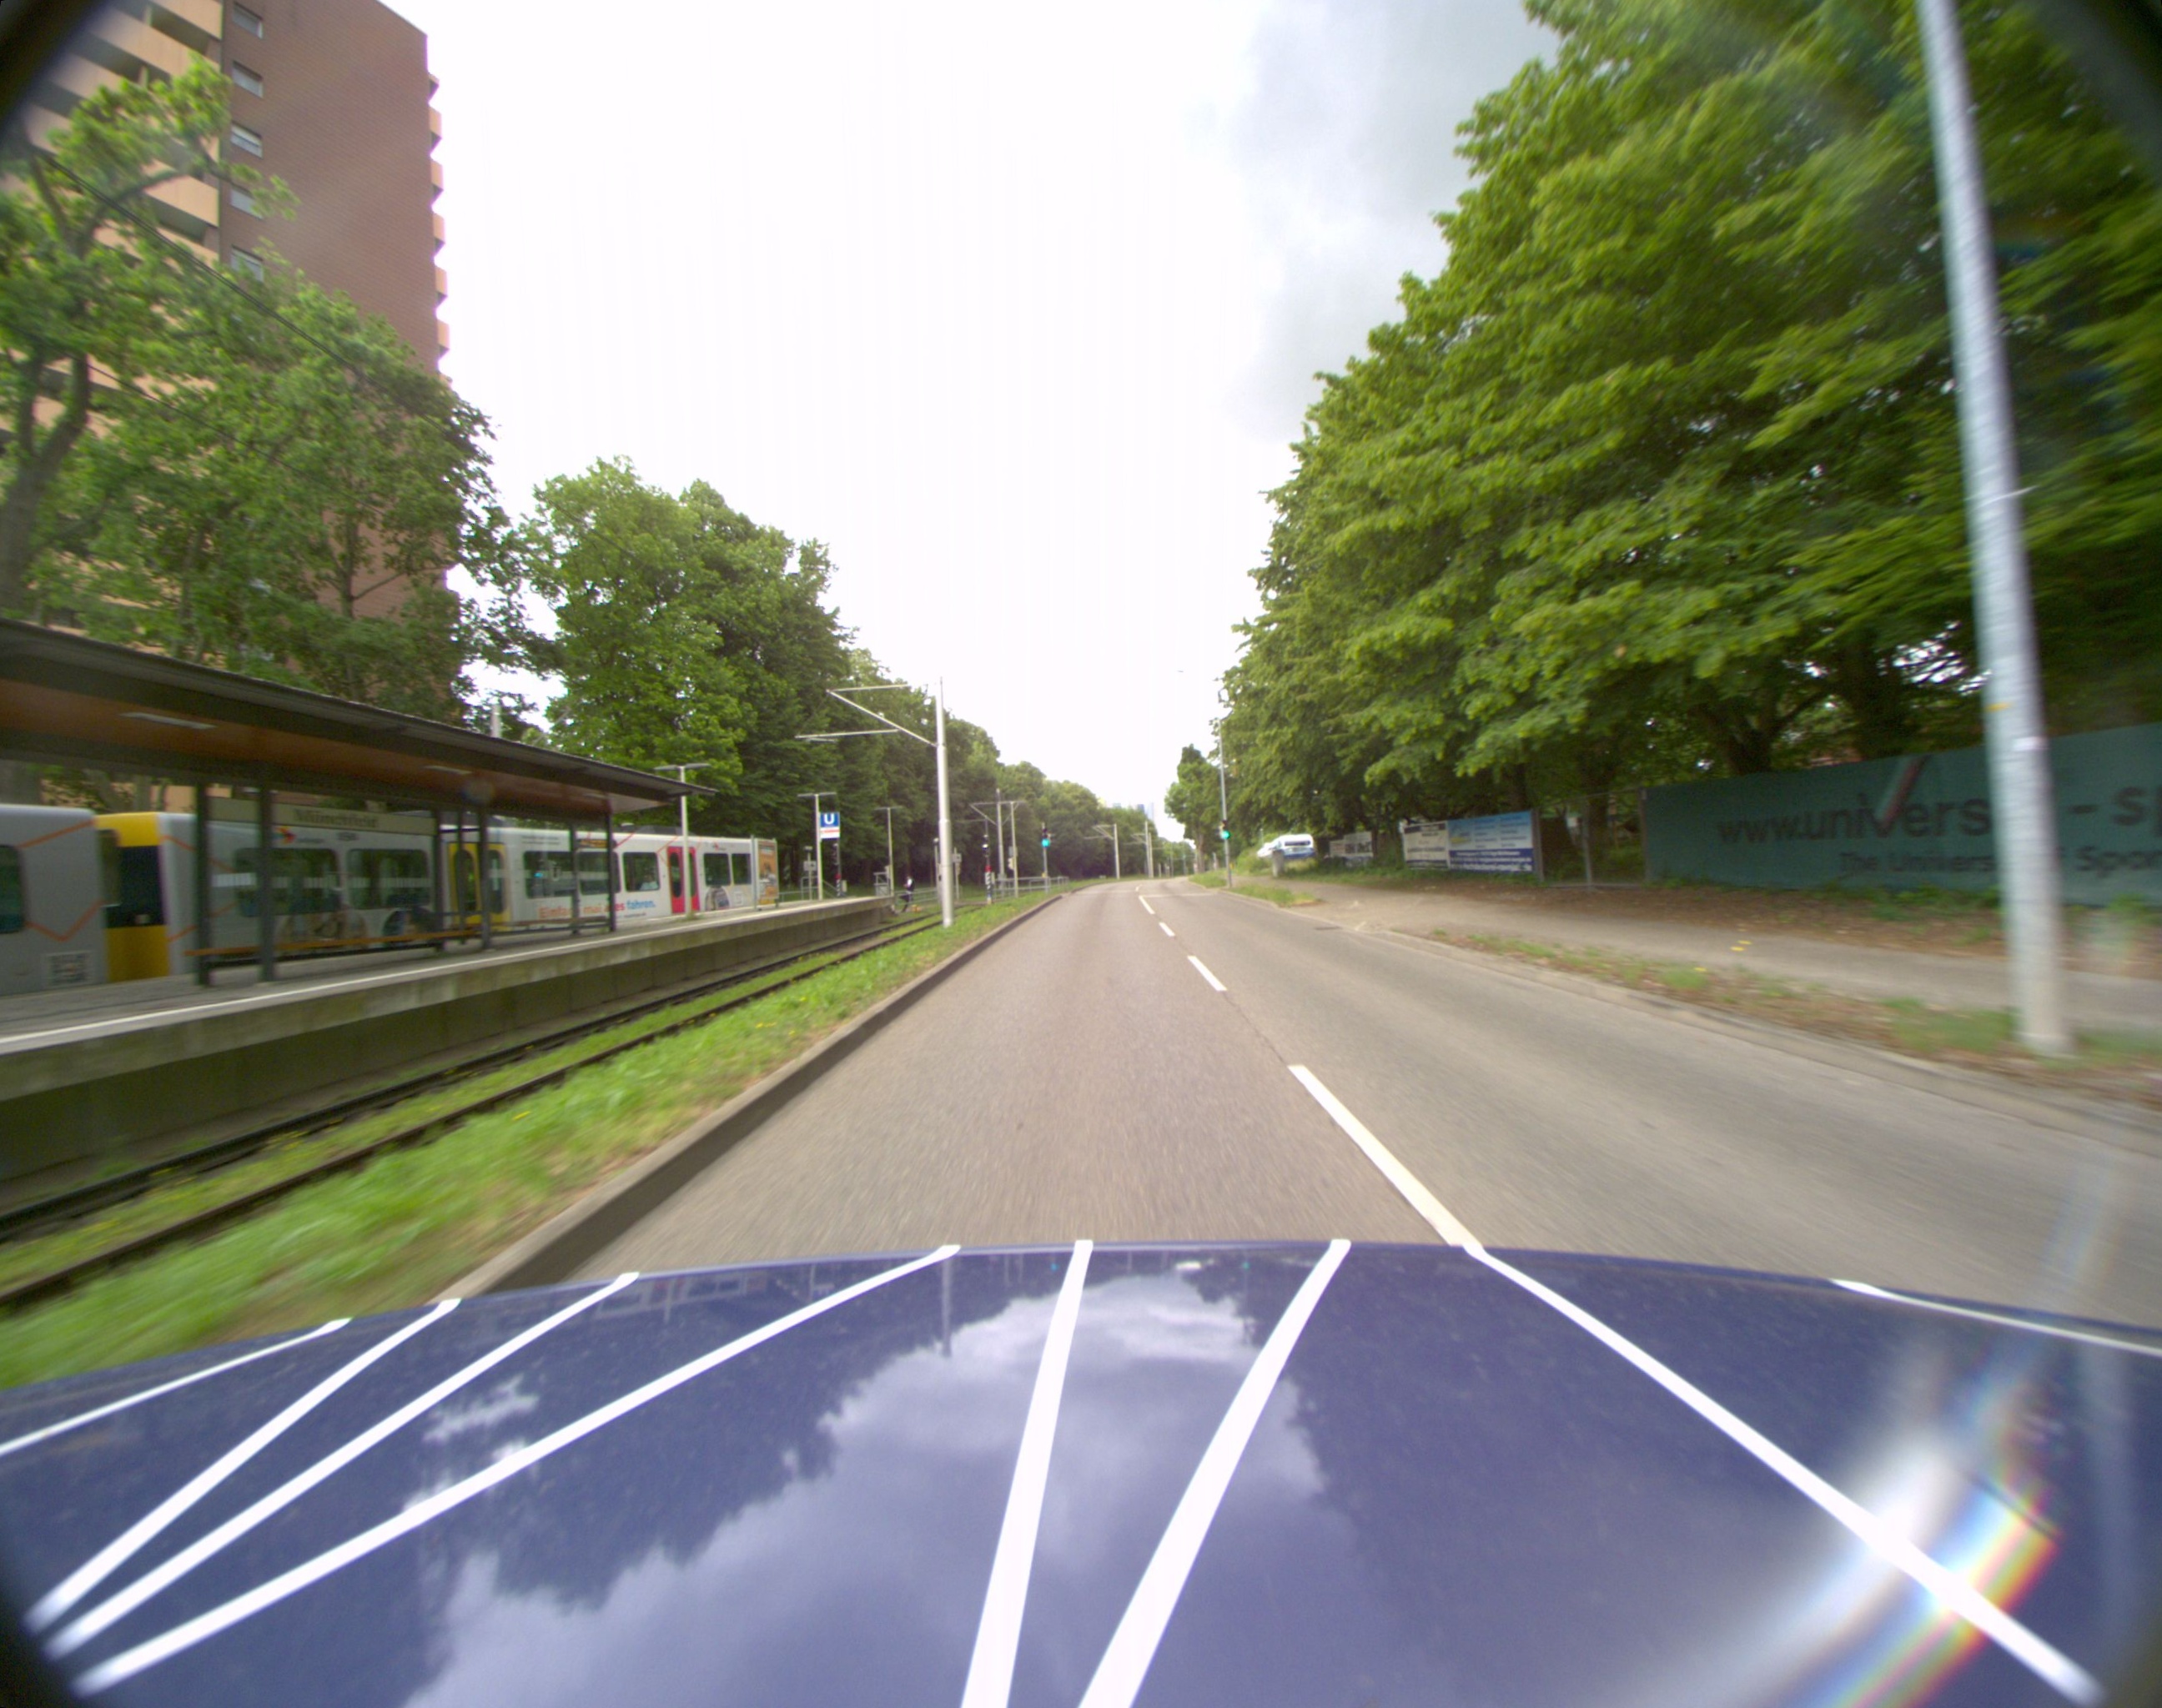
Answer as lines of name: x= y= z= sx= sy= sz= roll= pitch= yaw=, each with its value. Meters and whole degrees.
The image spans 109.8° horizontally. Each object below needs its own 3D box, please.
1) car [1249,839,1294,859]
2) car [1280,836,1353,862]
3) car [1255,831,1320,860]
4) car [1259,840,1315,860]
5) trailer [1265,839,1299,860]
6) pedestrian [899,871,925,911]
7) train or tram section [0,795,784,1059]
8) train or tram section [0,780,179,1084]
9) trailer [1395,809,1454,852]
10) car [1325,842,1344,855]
car: x=18.071 y=-0.467 z=72.089 sx=4.040 sy=1.538 sz=2.003 roll=-4 pitch=-2 yaw=16
car: x=18.329 y=-0.378 z=59.373 sx=5.165 sy=1.552 sz=1.888 roll=-4 pitch=-2 yaw=11
car: x=18.001 y=-0.749 z=66.433 sx=5.165 sy=2.093 sz=2.217 roll=-4 pitch=-2 yaw=11
car: x=17.167 y=-0.319 z=63.431 sx=4.385 sy=1.308 sz=1.564 roll=-4 pitch=-2 yaw=11
trailer: x=21.398 y=-0.433 z=80.766 sx=3.370 sy=2.045 sz=1.680 roll=-3 pitch=-1 yaw=16
pedestrian: x=-7.826 y=1.698 z=35.275 sx=0.986 sy=1.747 sz=0.729 roll=-4 pitch=-1 yaw=-5
train or tram section: x=-13.969 y=1.084 z=20.406 sx=2.819 sy=3.715 sz=18.539 roll=-4 pitch=0 yaw=5
train or tram section: x=-15.070 y=1.037 z=1.748 sx=2.820 sy=3.776 sz=18.935 roll=-4 pitch=0 yaw=1
trailer: x=27.566 y=-1.817 z=61.282 sx=2.653 sy=3.056 sz=7.201 roll=-4 pitch=0 yaw=12
car: x=32.556 y=-0.706 z=97.826 sx=1.996 sy=1.408 sz=4.053 roll=-4 pitch=-2 yaw=15
